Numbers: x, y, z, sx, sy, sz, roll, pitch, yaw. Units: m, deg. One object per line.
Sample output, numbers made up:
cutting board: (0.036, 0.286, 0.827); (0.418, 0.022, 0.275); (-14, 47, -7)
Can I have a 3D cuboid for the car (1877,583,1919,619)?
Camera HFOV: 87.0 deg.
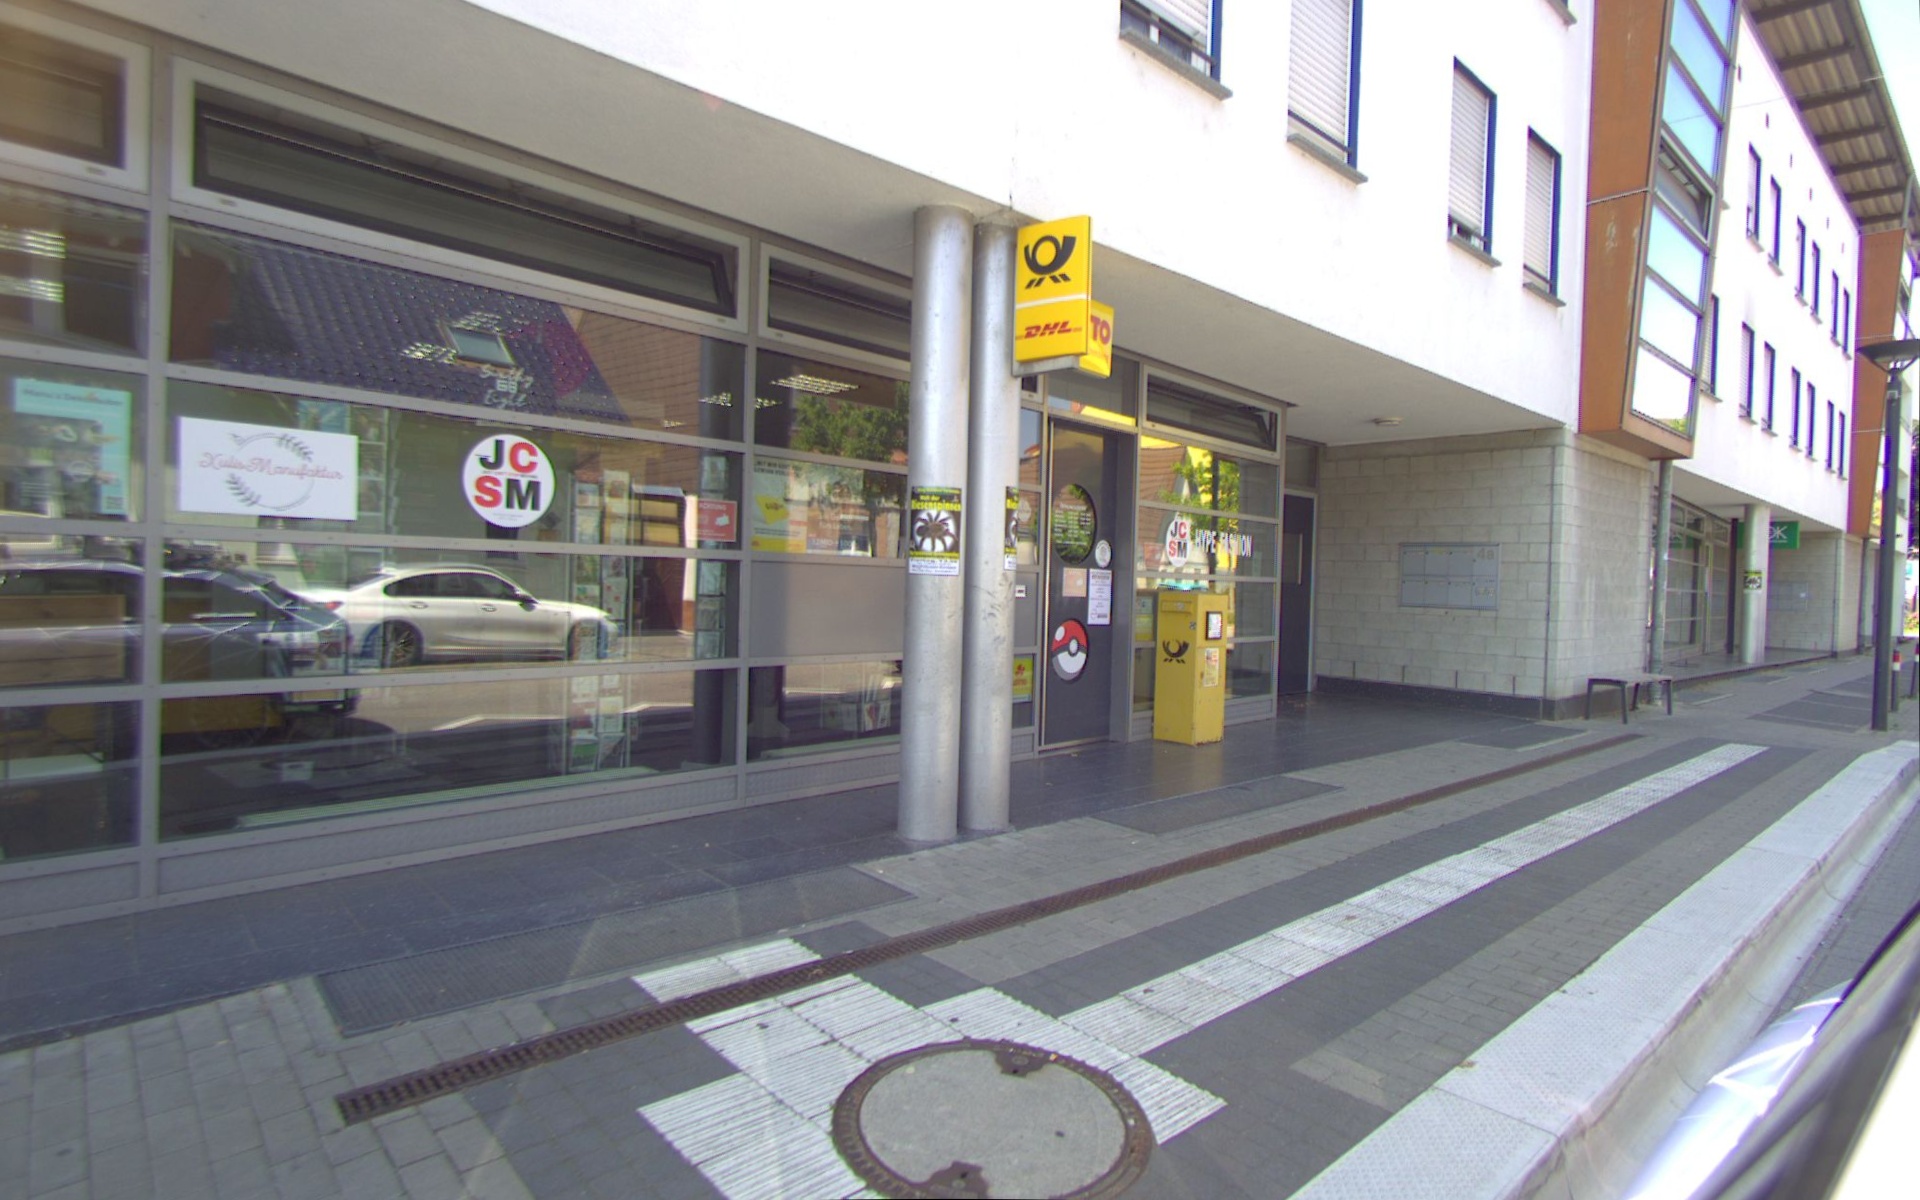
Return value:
car: (52.815, 0.085, 55.003); (1.966, 1.882, 4.201); (0, 3, -42)
